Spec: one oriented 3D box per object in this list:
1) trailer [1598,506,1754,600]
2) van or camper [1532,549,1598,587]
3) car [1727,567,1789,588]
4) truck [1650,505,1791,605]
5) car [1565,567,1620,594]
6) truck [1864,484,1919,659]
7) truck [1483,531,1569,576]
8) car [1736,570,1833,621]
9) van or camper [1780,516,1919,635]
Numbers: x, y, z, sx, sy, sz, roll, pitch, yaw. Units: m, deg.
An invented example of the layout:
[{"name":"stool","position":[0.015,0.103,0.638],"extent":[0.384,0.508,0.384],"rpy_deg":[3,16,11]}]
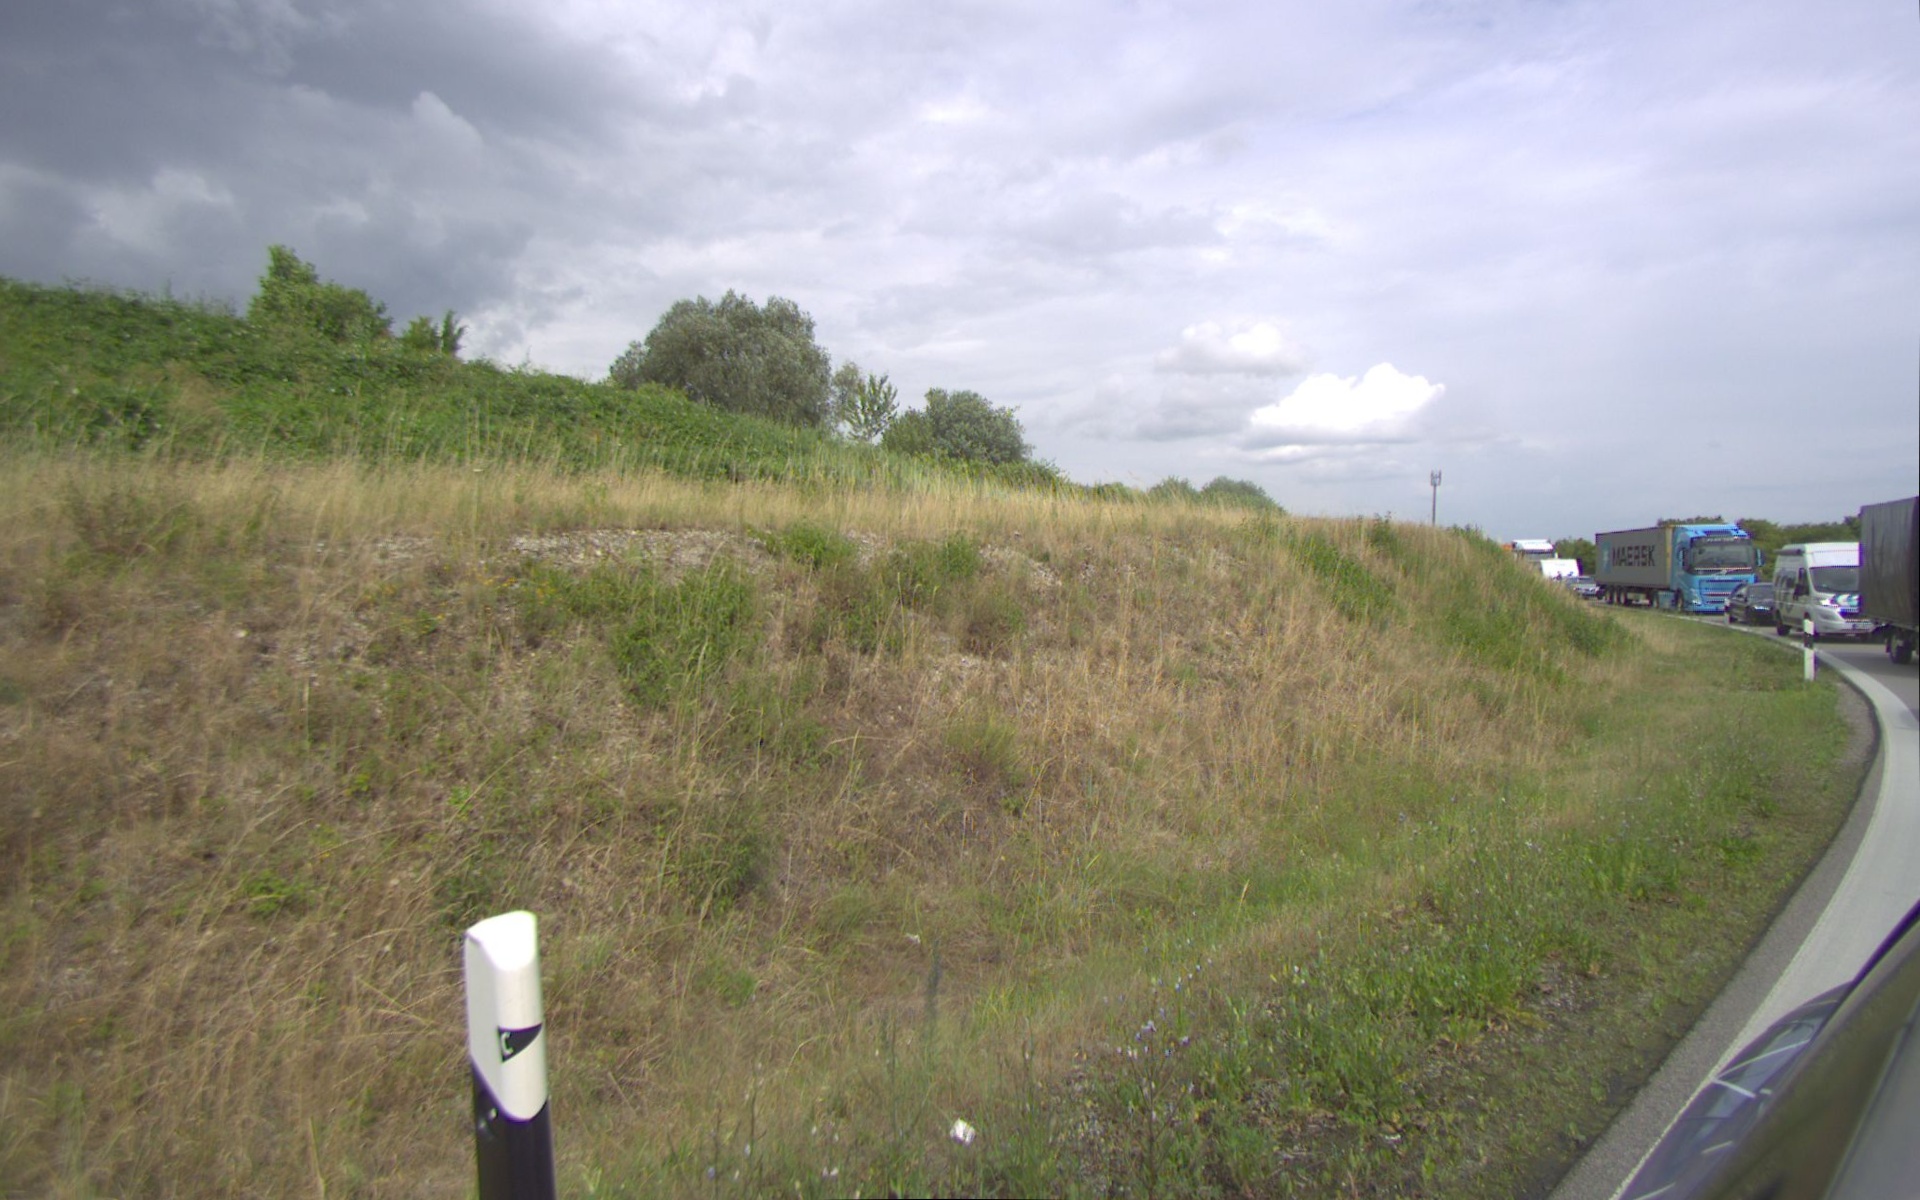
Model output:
[{"name":"trailer","position":[36.192,-2.179,51.846],"extent":[3.234,4.214,11.943],"rpy_deg":[0,0,19]},{"name":"van or camper","position":[40.776,-2.207,68.351],"extent":[2.519,2.237,5.684],"rpy_deg":[-1,4,17]},{"name":"car","position":[58.499,-1.699,74.270],"extent":[1.972,1.440,4.439],"rpy_deg":[0,2,15]},{"name":"truck","position":[33.948,-1.903,45.507],"extent":[3.139,4.124,6.605],"rpy_deg":[0,0,19]},{"name":"car","position":[39.086,-1.210,62.625],"extent":[1.974,1.548,3.977],"rpy_deg":[0,2,19]},{"name":"truck","position":[19.216,-0.526,18.728],"extent":[2.550,3.207,7.381],"rpy_deg":[0,0,33]},{"name":"truck","position":[44.129,-3.569,79.395],"extent":[3.080,3.279,11.113],"rpy_deg":[0,2,14]},{"name":"car","position":[29.238,-0.215,36.017],"extent":[1.983,1.638,3.960],"rpy_deg":[1,2,29]},{"name":"van or camper","position":[24.674,-0.635,27.880],"extent":[2.379,2.945,5.659],"rpy_deg":[0,0,30]}]
